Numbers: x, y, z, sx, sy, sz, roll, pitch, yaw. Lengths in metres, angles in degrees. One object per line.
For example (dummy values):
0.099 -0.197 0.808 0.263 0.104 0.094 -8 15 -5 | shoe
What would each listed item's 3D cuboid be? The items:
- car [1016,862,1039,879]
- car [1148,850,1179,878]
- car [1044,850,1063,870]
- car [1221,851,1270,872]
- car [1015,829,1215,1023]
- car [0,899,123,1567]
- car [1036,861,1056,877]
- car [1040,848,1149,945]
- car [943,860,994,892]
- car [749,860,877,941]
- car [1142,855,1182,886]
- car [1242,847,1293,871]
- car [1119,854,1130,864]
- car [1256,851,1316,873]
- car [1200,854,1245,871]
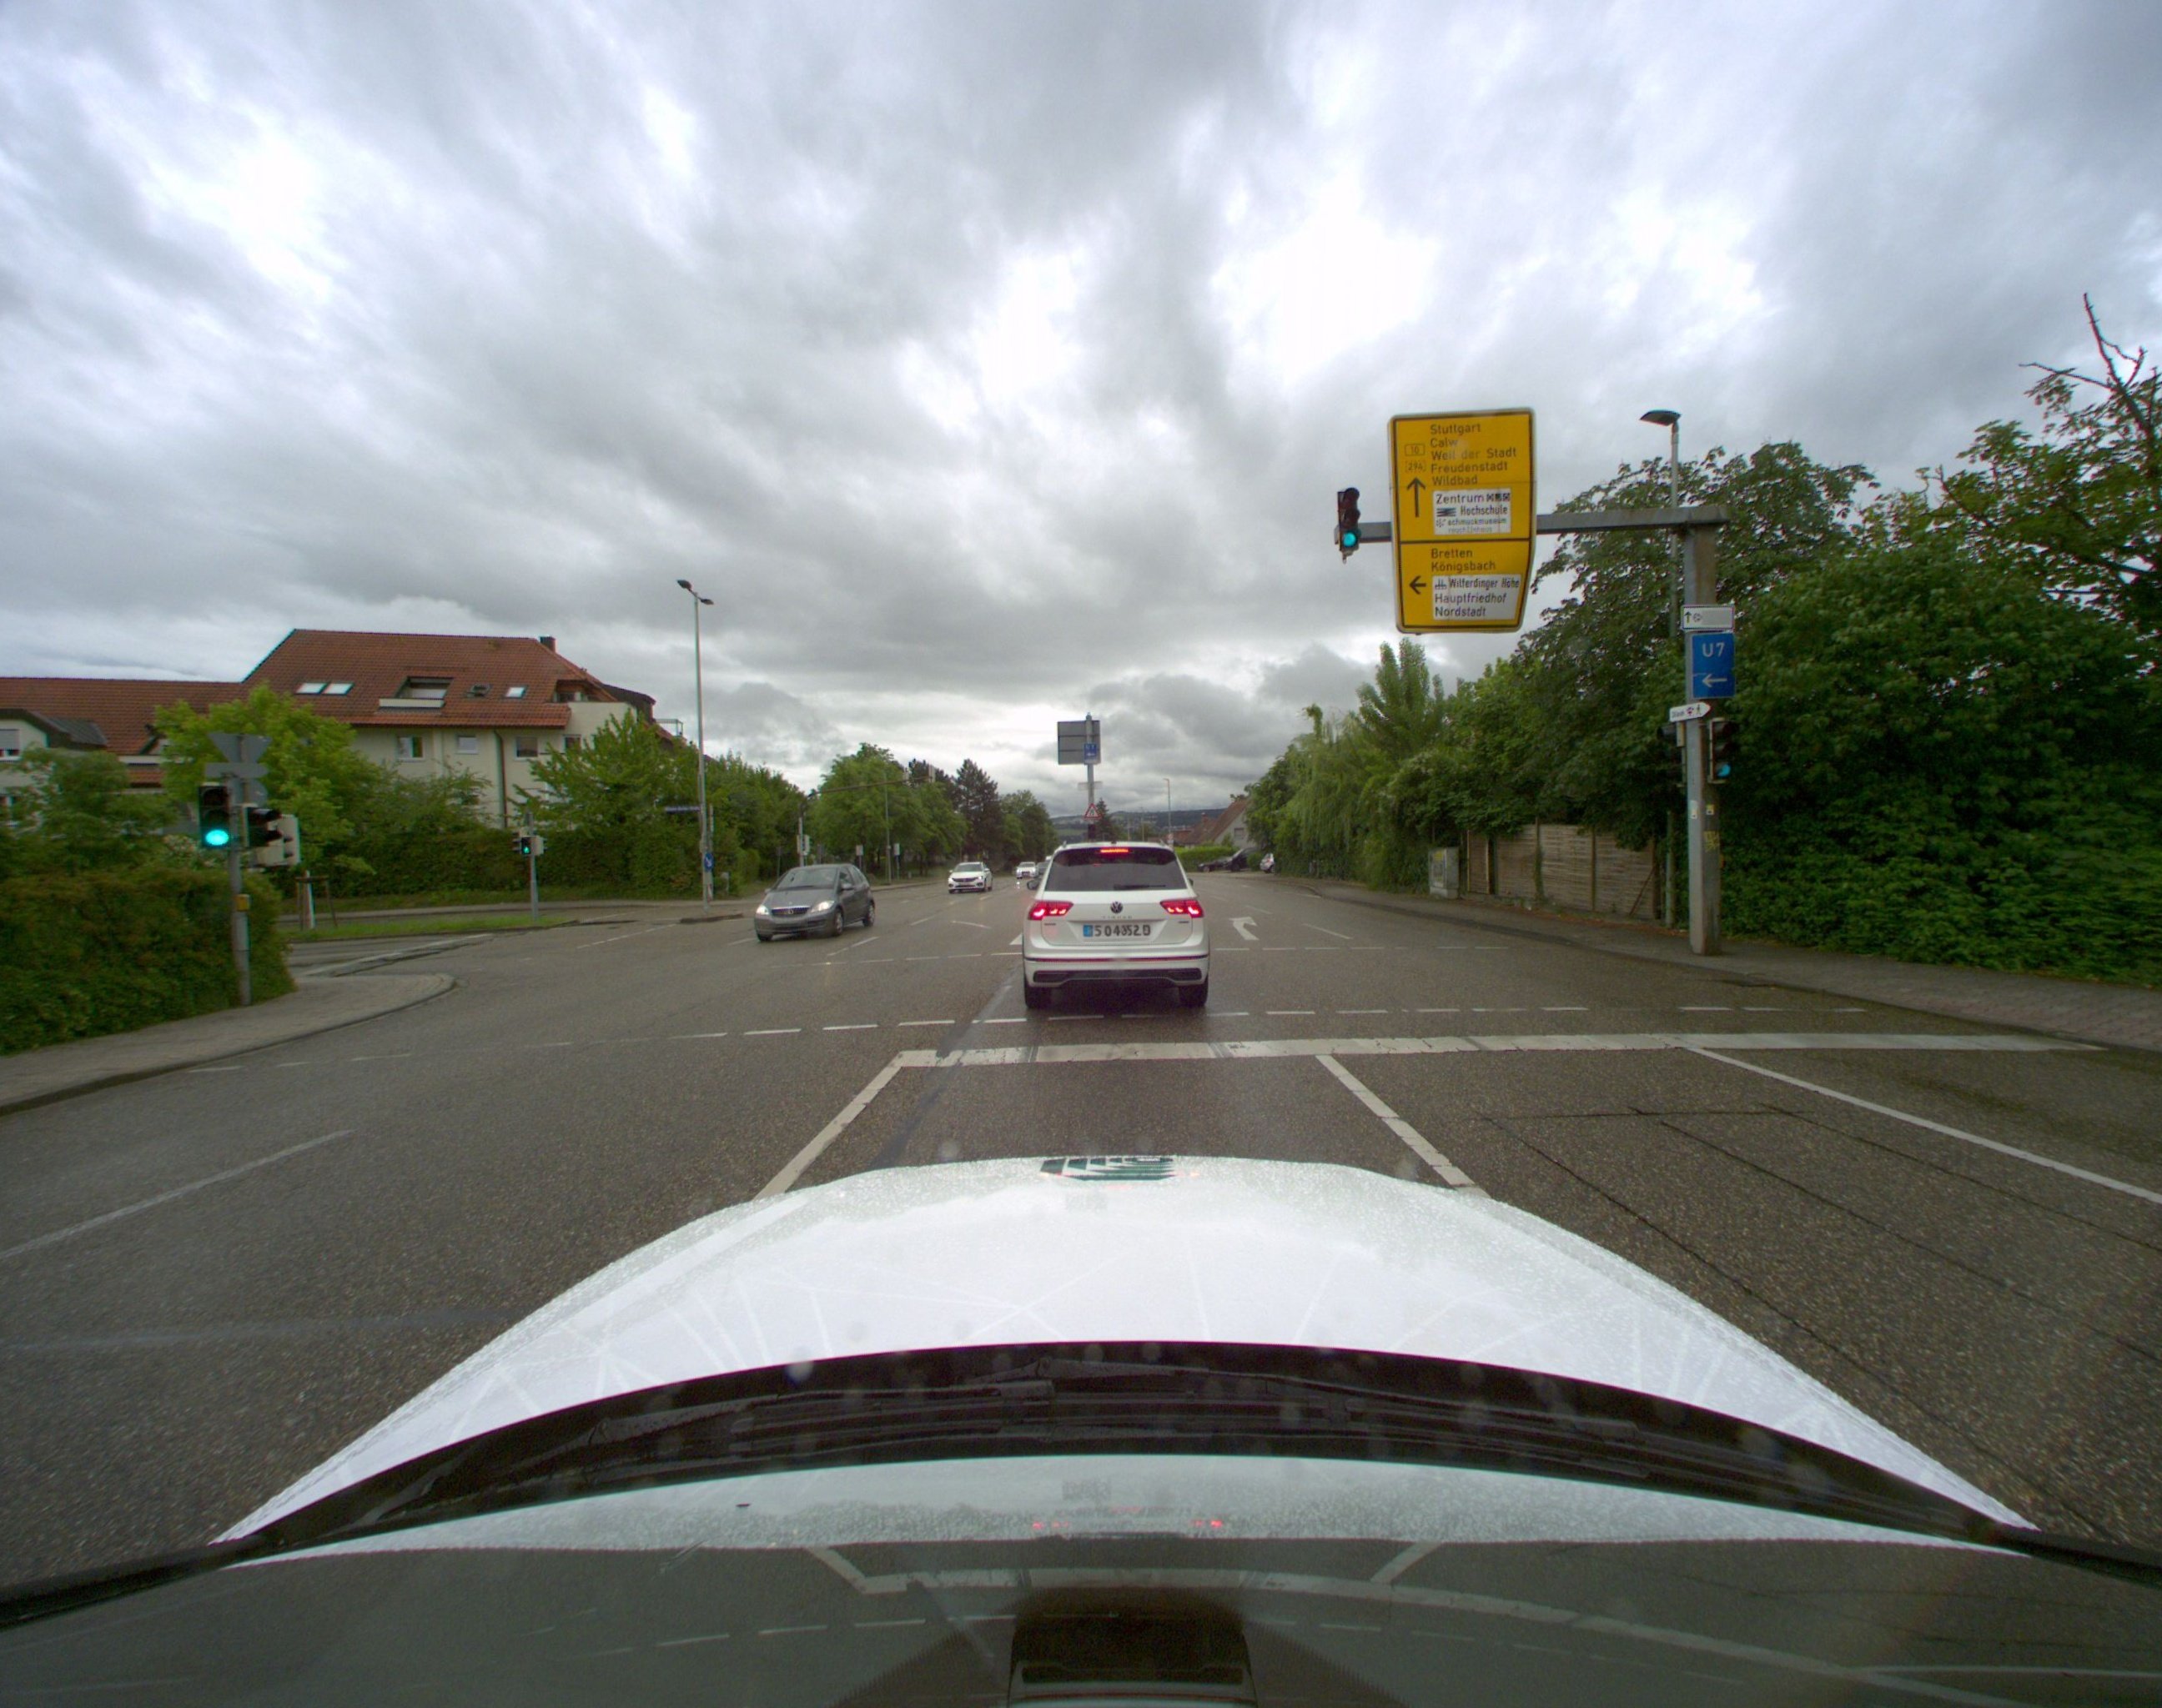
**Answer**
-4.685 1.419 71.799 1.740 1.397 3.801 -2 0 0 | car
5.396 0.646 53.572 1.706 1.758 3.802 -2 0 1 | car
-3.620 0.796 108.171 2.290 2.528 5.773 -2 0 0 | car
13.338 0.588 66.099 3.618 1.626 1.790 -1 1 -2 | car
0.343 0.628 9.311 1.756 1.696 4.273 0 0 1 | car
-3.257 0.888 0.260 1.633 1.460 3.519 -3 0 1 | car
-3.705 1.569 87.090 1.769 1.502 4.472 -3 0 1 | car
0.311 0.710 15.586 1.791 1.589 3.928 -1 0 2 | car
-5.594 1.075 40.914 1.962 1.454 4.306 -2 0 -1 | car
-6.037 0.981 18.763 1.694 1.599 3.549 -3 0 0 | car
3.994 0.768 40.768 1.675 1.460 3.802 -1 0 1 | car
14.567 0.373 63.680 3.618 1.746 1.707 -1 2 -2 | car
7.947 0.912 147.744 1.843 1.574 4.002 -2 0 2 | car
14.657 0.609 58.315 3.708 1.395 1.725 -2 -1 -6 | car
12.322 0.766 70.933 3.675 1.370 1.519 -1 -2 0 | car
